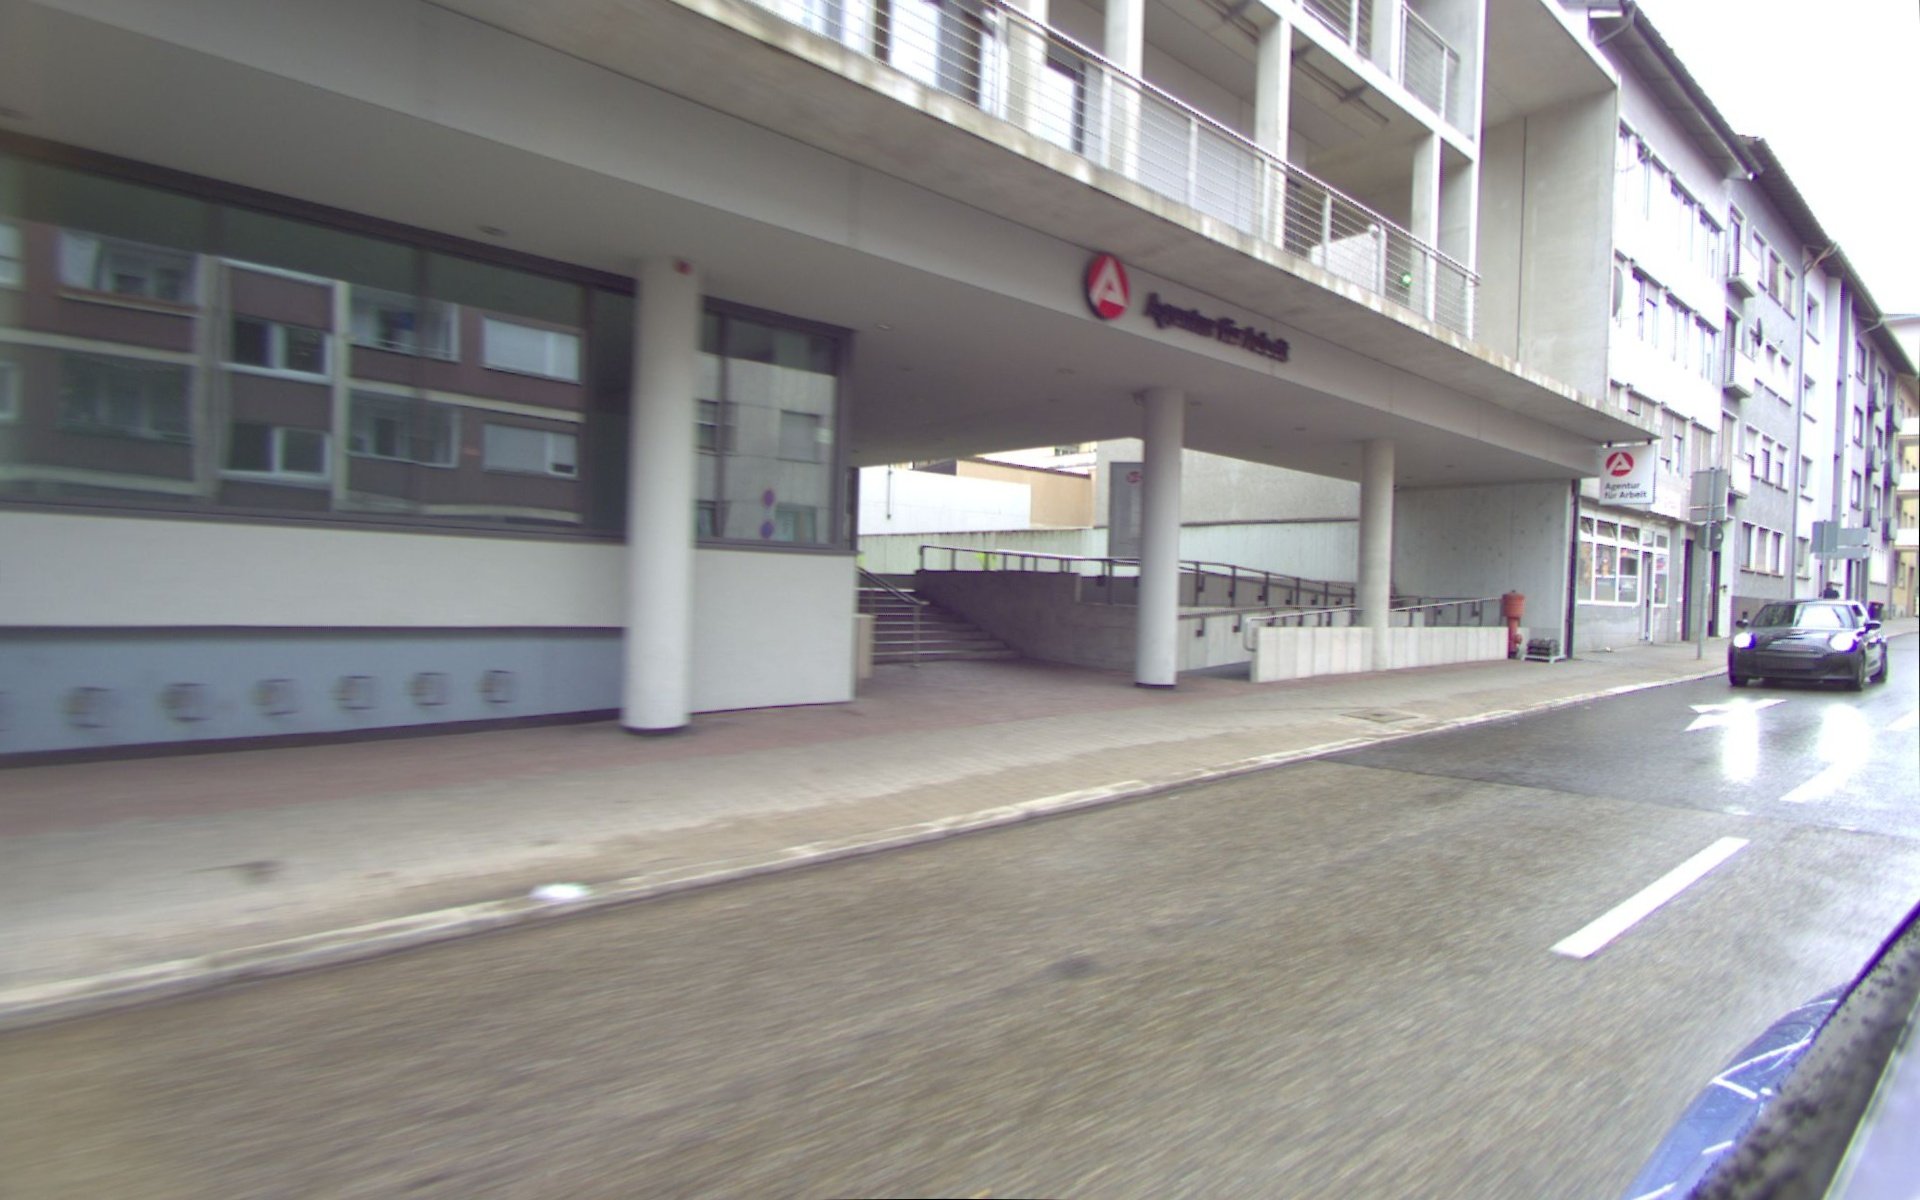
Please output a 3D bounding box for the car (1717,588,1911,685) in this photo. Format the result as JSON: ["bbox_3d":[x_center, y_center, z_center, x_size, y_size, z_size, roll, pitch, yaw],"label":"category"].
[{"bbox_3d":[14.604,0.548,17.235,4.144,1.394,1.854,-1,0,-41],"label":"car"}]

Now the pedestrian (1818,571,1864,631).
[{"bbox_3d":[29.373,0.011,33.752,1.100,1.888,0.871,-1,6,-40],"label":"pedestrian"}]
